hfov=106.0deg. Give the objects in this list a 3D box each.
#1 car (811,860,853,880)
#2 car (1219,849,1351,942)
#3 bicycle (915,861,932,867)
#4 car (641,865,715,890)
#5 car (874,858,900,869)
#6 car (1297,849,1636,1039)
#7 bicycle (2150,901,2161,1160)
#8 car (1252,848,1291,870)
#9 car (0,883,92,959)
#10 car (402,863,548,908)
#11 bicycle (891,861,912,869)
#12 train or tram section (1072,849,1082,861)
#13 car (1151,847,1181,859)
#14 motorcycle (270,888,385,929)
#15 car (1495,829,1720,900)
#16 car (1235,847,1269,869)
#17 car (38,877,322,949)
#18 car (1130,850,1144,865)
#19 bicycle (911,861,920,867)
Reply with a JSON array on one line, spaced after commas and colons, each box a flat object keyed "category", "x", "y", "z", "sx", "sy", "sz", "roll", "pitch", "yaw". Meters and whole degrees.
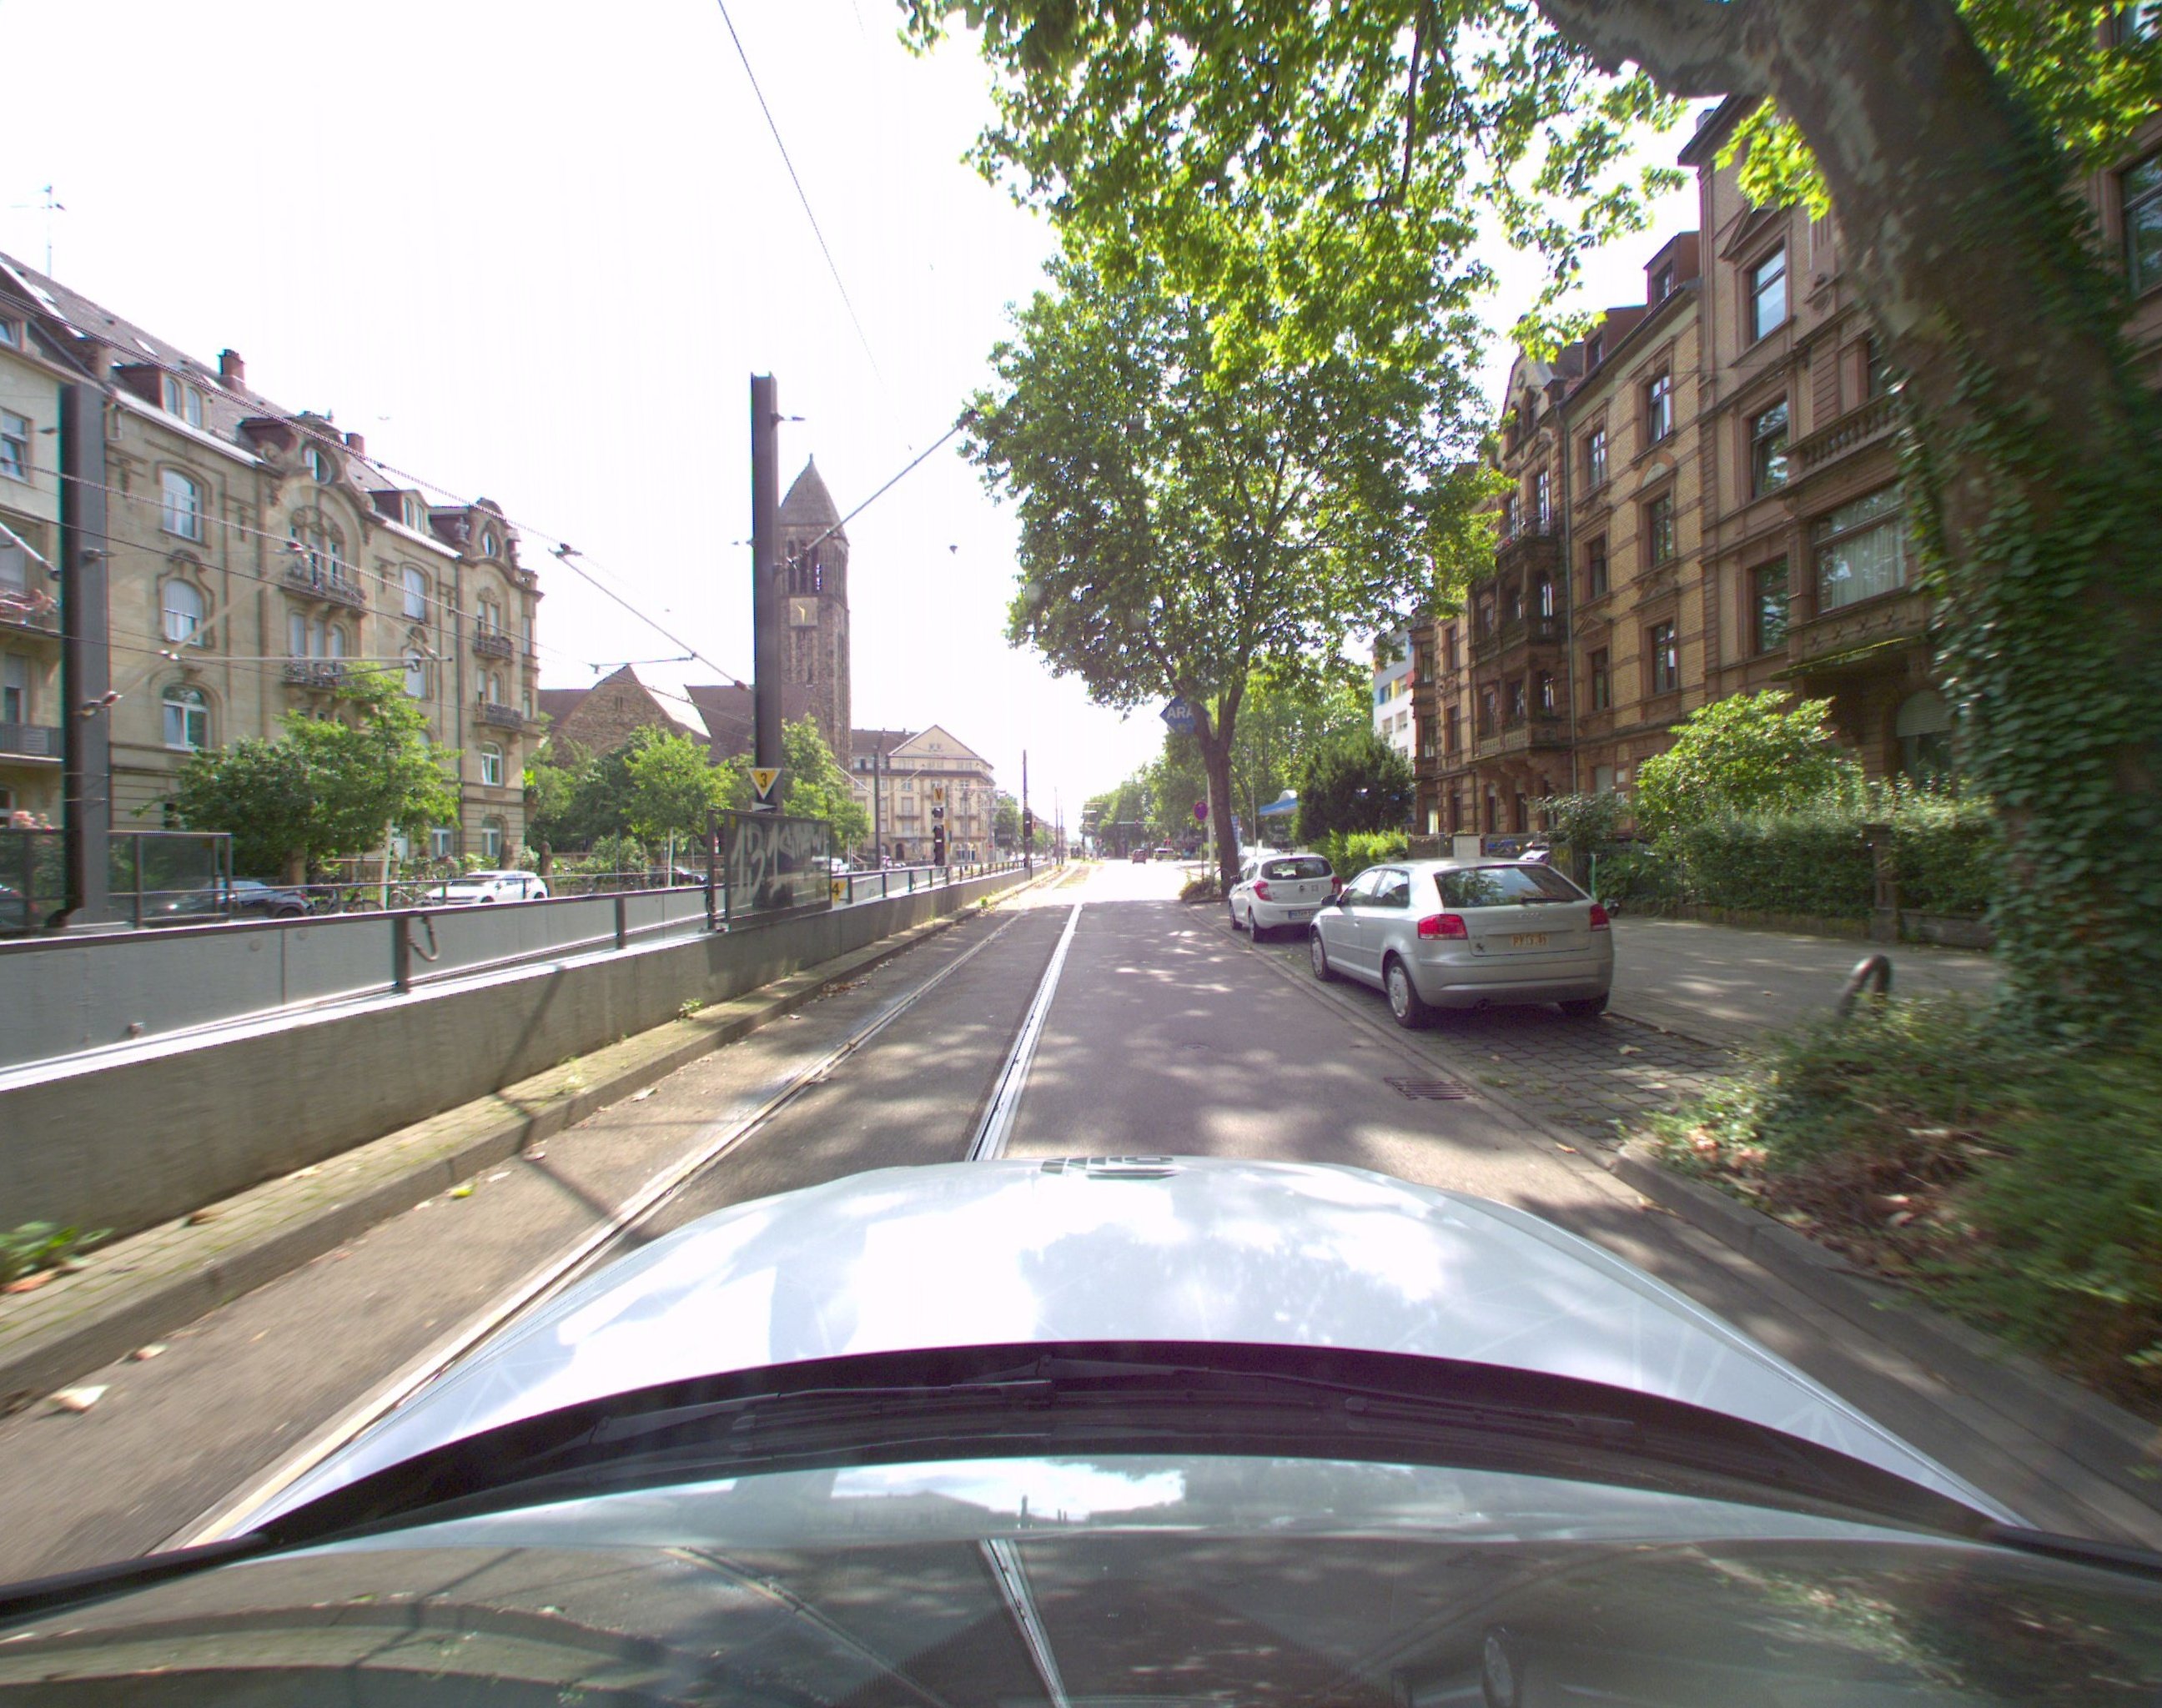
[{"category": "car", "x": -19.858, "y": 1.250, "z": 65.123, "sx": 1.925, "sy": 1.504, "sz": 4.413, "roll": -1, "pitch": 0, "yaw": 0}, {"category": "car", "x": 3.682, "y": 0.684, "z": 15.319, "sx": 1.548, "sy": 1.485, "sz": 3.859, "roll": -2, "pitch": 0, "yaw": 1}, {"category": "bicycle", "x": -25.834, "y": 1.643, "z": 133.452, "sx": 2.571, "sy": 1.053, "sz": 0.676, "roll": -1, "pitch": 0, "yaw": -27}, {"category": "car", "x": -26.200, "y": 1.548, "z": 53.017, "sx": 3.948, "sy": 1.464, "sz": 1.724, "roll": -2, "pitch": 0, "yaw": 1}, {"category": "car", "x": -31.332, "y": 1.521, "z": 131.583, "sx": 3.948, "sy": 1.674, "sz": 2.013, "roll": -1, "pitch": 0, "yaw": 34}, {"category": "car", "x": 3.534, "y": 0.707, "z": 8.323, "sx": 1.672, "sy": 1.444, "sz": 3.859, "roll": -2, "pitch": 0, "yaw": 1}, {"category": "bicycle", "x": 4.585, "y": 0.690, "z": 2.592, "sx": 0.578, "sy": 1.020, "sz": 1.322, "roll": -1, "pitch": 0, "yaw": -4}, {"category": "car", "x": 13.037, "y": 0.336, "z": 55.893, "sx": 1.799, "sy": 1.455, "sz": 4.002, "roll": -1, "pitch": 0, "yaw": 1}, {"category": "car", "x": -20.632, "y": 1.266, "z": 13.758, "sx": 1.941, "sy": 1.327, "sz": 4.728, "roll": -1, "pitch": 0, "yaw": 2}, {"category": "car", "x": -20.494, "y": 1.002, "z": 27.784, "sx": 1.746, "sy": 1.328, "sz": 4.311, "roll": -2, "pitch": 0, "yaw": -1}, {"category": "bicycle", "x": -29.271, "y": 1.771, "z": 132.622, "sx": 3.283, "sy": 1.253, "sz": 1.003, "roll": -1, "pitch": 0, "yaw": 17}, {"category": "train or tram section", "x": -1.093, "y": 0.266, "z": 233.753, "sx": 2.232, "sy": 3.331, "sz": 12.977, "roll": -1, "pitch": 0, "yaw": 2}, {"category": "car", "x": 14.694, "y": -0.138, "z": 141.029, "sx": 4.737, "sy": 1.860, "sz": 1.993, "roll": -2, "pitch": 0, "yaw": -11}, {"category": "motorcycle", "x": -20.650, "y": 1.489, "z": 22.372, "sx": 1.755, "sy": 0.941, "sz": 1.417, "roll": -3, "pitch": 0, "yaw": 0}, {"category": "car", "x": 12.791, "y": 0.249, "z": 19.984, "sx": 4.219, "sy": 1.469, "sz": 1.942, "roll": -3, "pitch": 0, "yaw": 1}, {"category": "car", "x": 13.186, "y": 0.314, "z": 62.929, "sx": 1.798, "sy": 1.602, "sz": 4.585, "roll": -1, "pitch": 0, "yaw": 2}, {"category": "car", "x": -20.547, "y": 1.279, "z": 18.891, "sx": 2.014, "sy": 1.327, "sz": 4.099, "roll": -1, "pitch": 0, "yaw": -1}, {"category": "car", "x": 7.167, "y": 0.445, "z": 104.250, "sx": 1.744, "sy": 1.809, "sz": 3.476, "roll": 0, "pitch": 0, "yaw": 2}, {"category": "bicycle", "x": -27.309, "y": 1.649, "z": 134.618, "sx": 0.808, "sy": 1.053, "sz": 2.543, "roll": -1, "pitch": 0, "yaw": -28}]
